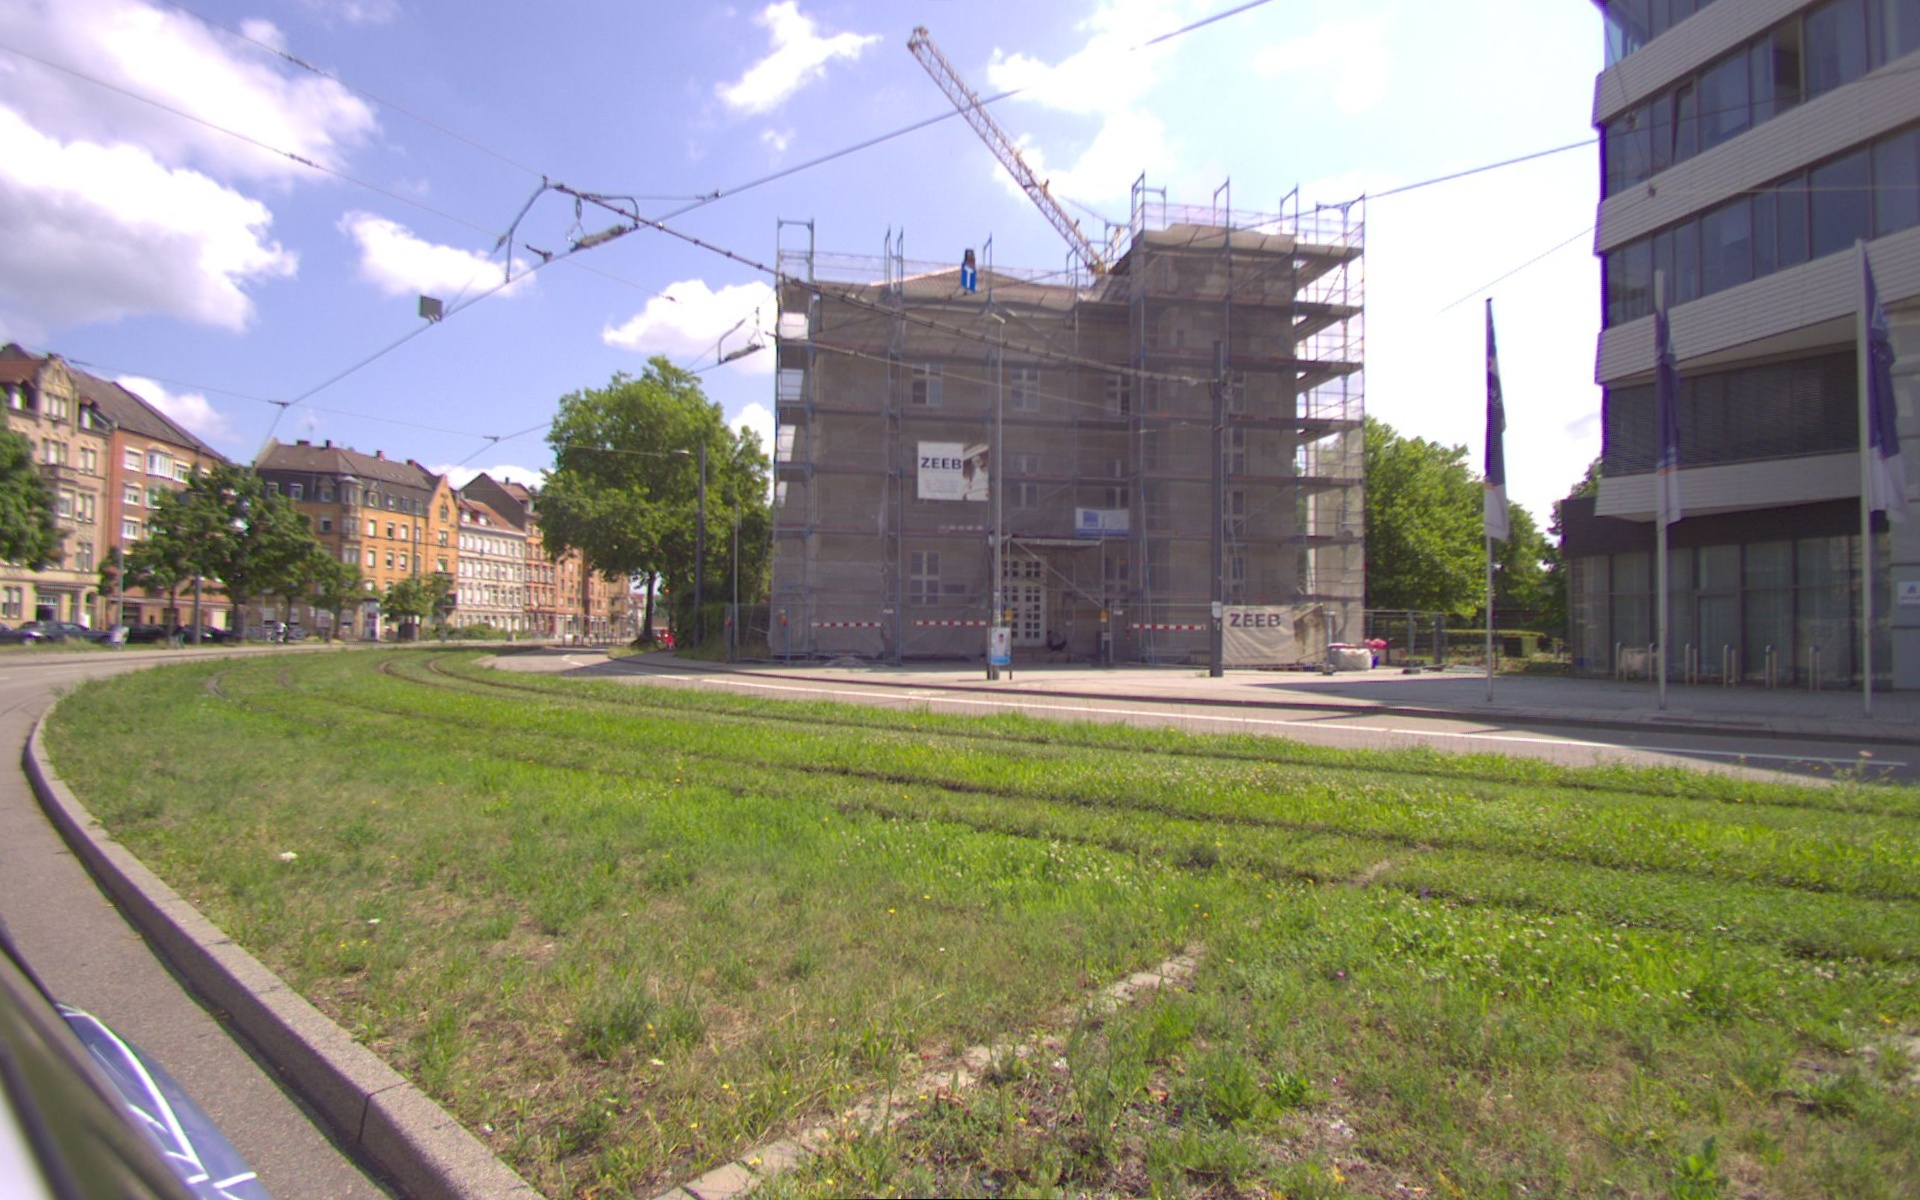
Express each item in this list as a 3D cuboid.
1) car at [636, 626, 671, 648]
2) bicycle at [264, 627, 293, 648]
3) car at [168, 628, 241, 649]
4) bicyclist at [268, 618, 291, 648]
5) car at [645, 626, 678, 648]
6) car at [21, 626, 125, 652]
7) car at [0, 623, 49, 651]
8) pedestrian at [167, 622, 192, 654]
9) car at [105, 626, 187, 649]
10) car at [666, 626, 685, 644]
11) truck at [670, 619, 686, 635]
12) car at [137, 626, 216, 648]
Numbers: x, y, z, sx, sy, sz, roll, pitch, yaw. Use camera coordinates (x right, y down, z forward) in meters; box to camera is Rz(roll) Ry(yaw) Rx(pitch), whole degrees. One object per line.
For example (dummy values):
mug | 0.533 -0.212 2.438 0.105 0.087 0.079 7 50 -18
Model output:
car | -20.218 2.468 66.832 1.900 1.379 4.328 -1 -2 -13
bicycle | -44.379 2.456 65.927 0.685 1.251 1.842 6 -4 -8
car | -52.356 2.667 70.205 3.933 1.364 1.967 0 -2 -33
bicyclist | -44.353 2.161 65.979 0.685 1.838 0.958 6 -4 -8
car | -21.341 2.661 72.435 1.901 1.431 4.059 -1 -2 -11
car | -49.678 2.146 56.714 1.852 1.391 4.209 -2 -2 43
car | -48.350 1.863 50.471 1.852 1.391 4.209 -2 -2 43
pedestrian | -43.178 2.106 56.001 0.691 1.717 1.047 1 0 -12
car | -51.316 2.337 63.863 3.936 1.391 1.965 1 -2 -39
car | -24.215 3.015 86.164 1.467 1.465 2.890 -1 -2 -13
truck | -59.391 5.668 213.199 2.604 3.130 7.239 3 -2 -11
car | -51.701 2.418 66.824 3.940 1.391 1.963 1 -2 -44
